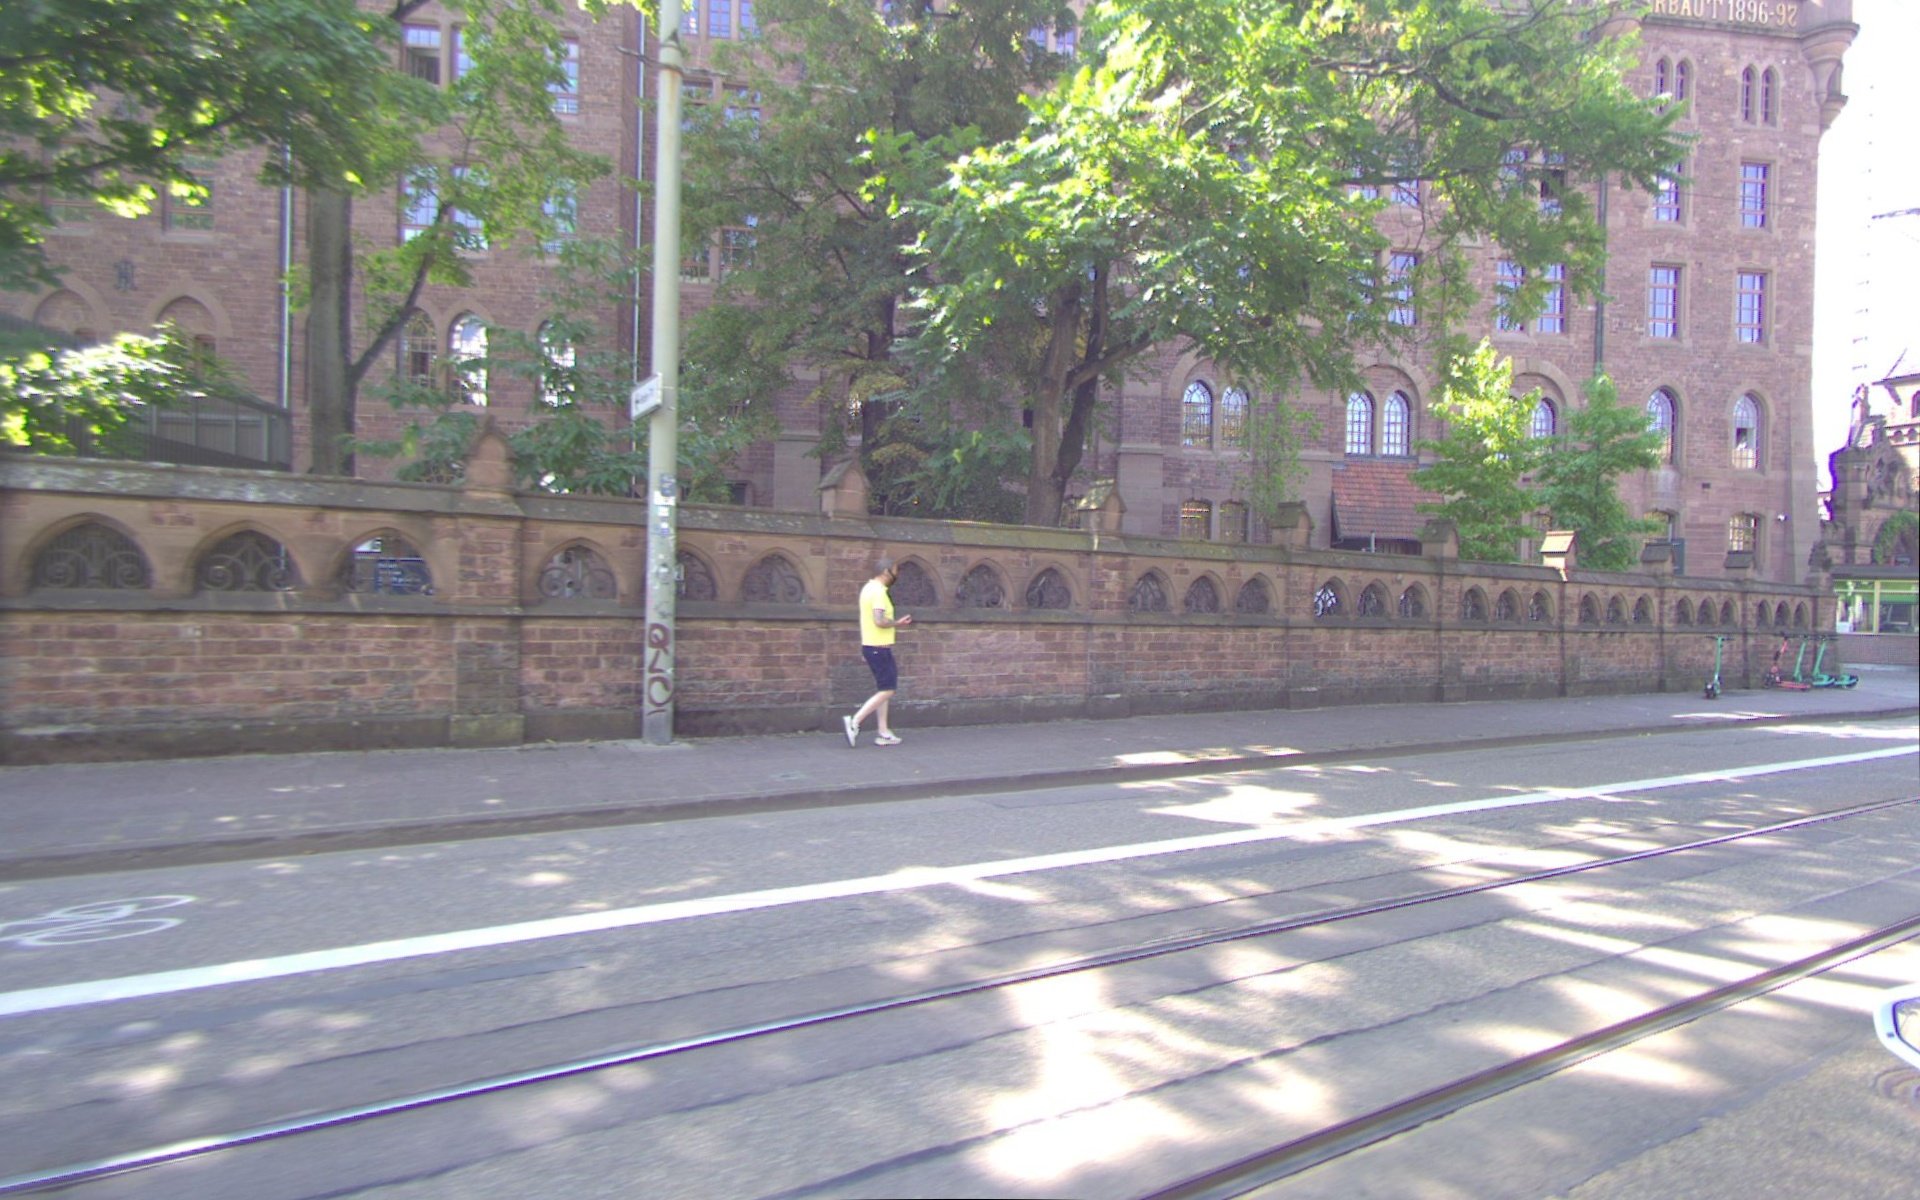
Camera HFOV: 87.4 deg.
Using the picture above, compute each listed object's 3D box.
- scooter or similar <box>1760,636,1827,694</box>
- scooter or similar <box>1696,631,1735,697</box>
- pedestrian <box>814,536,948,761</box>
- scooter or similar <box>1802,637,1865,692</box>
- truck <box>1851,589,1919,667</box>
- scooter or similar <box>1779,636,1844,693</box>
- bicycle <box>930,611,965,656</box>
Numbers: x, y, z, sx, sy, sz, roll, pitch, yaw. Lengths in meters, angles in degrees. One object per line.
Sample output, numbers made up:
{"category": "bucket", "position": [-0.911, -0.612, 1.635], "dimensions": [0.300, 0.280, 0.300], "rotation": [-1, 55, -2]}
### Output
{"category": "scooter or similar", "position": [17.671, 1.379, 21.301], "dimensions": [1.156, 1.194, 0.340], "rotation": [2, 0, -5]}
{"category": "scooter or similar", "position": [14.180, 1.181, 18.842], "dimensions": [0.416, 1.194, 1.309], "rotation": [2, 0, 44]}
{"category": "pedestrian", "position": [-0.771, 0.449, 9.746], "dimensions": [0.973, 2.040, 0.859], "rotation": [1, 0, -32]}
{"category": "scooter or similar", "position": [19.595, 1.437, 22.528], "dimensions": [1.156, 1.194, 0.340], "rotation": [2, 0, -5]}
{"category": "truck", "position": [34.272, 1.088, 33.570], "dimensions": [2.101, 2.573, 6.301], "rotation": [0, 3, -25]}
{"category": "scooter or similar", "position": [18.624, 1.408, 21.970], "dimensions": [1.156, 1.194, 0.340], "rotation": [2, 0, -5]}
{"category": "bicycle", "position": [-0.331, 0.872, 27.116], "dimensions": [0.883, 1.111, 2.688], "rotation": [2, 0, 0]}
